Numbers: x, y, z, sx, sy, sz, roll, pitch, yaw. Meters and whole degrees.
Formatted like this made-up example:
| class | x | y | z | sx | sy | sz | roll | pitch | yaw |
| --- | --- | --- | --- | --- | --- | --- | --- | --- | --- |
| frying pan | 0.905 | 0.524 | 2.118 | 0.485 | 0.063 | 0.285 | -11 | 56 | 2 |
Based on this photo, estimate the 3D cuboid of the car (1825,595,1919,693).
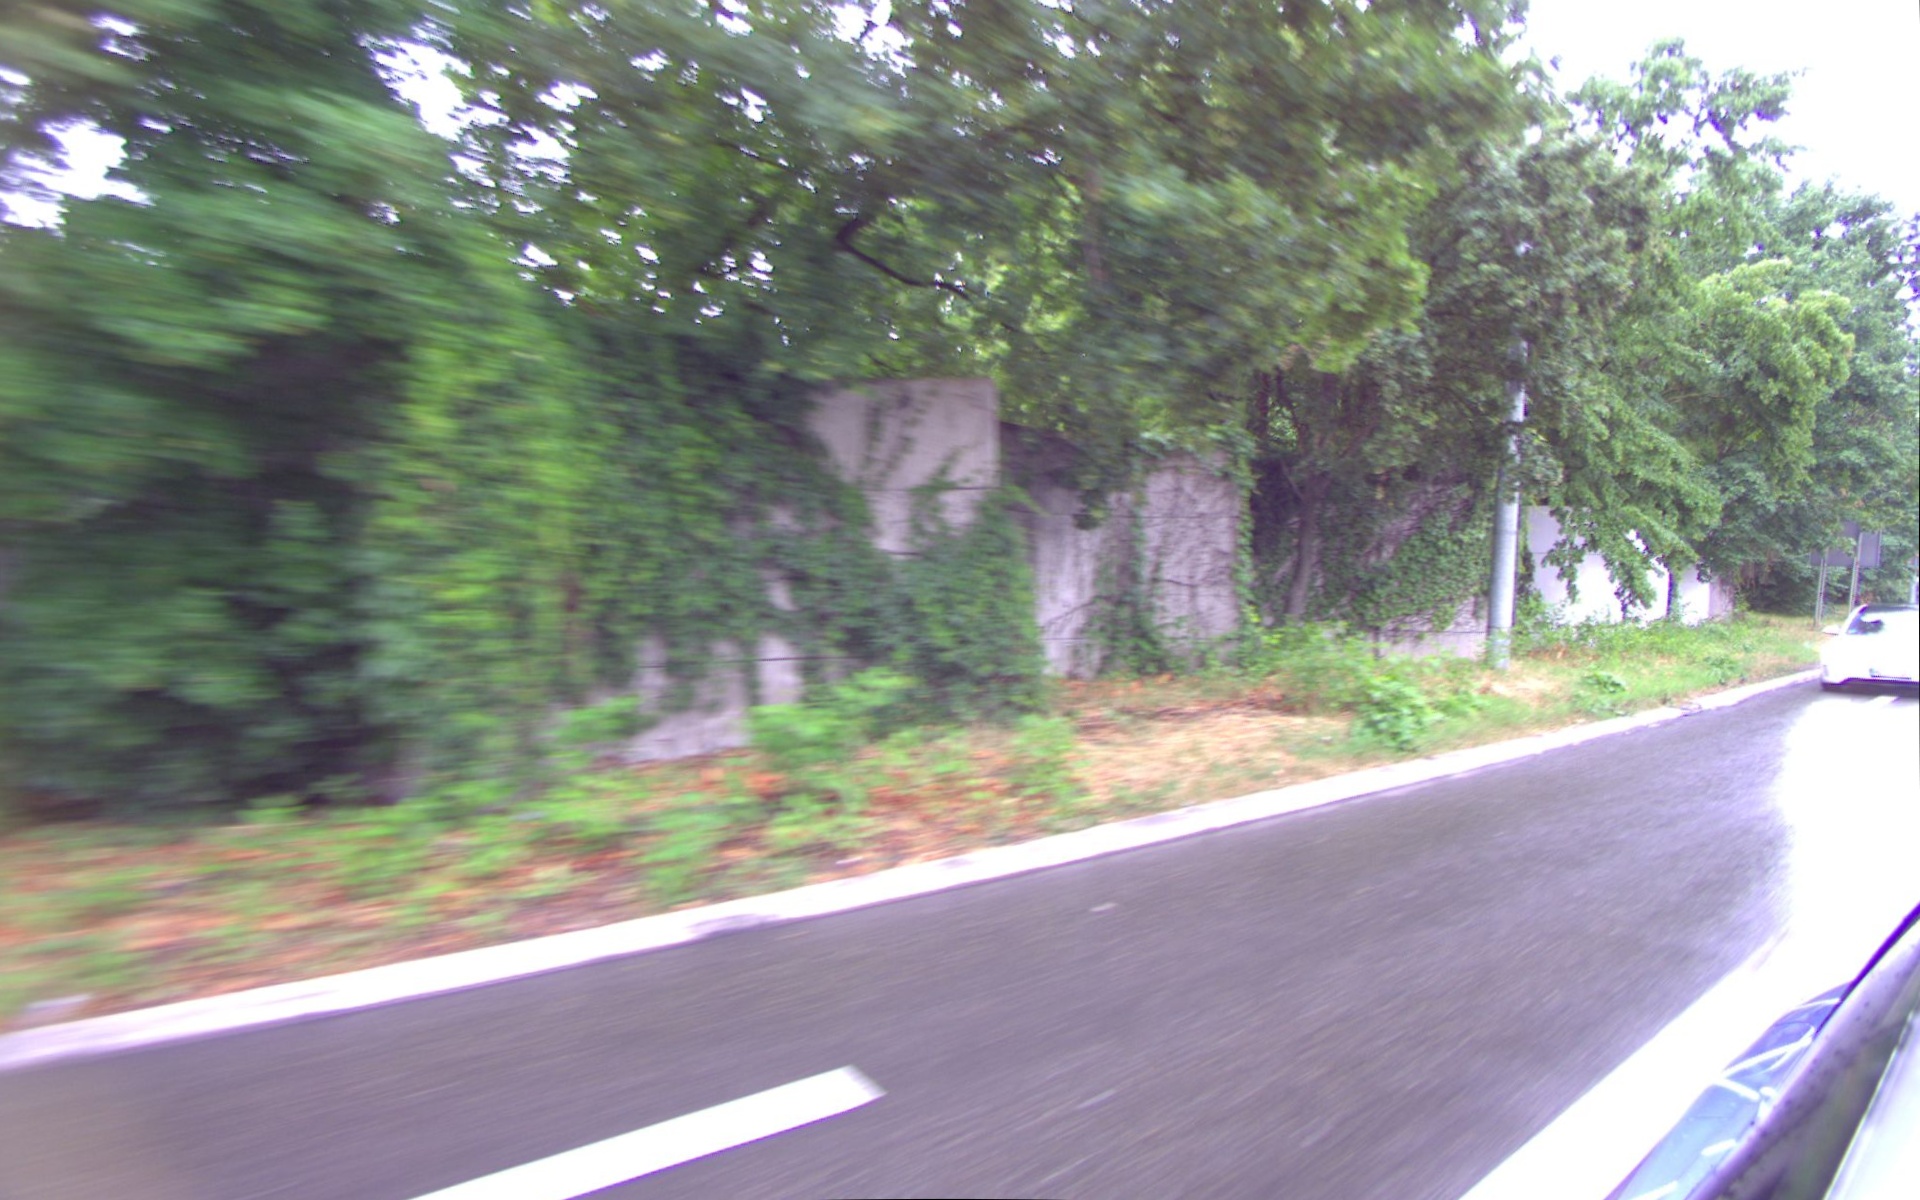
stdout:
| class | x | y | z | sx | sy | sz | roll | pitch | yaw |
| --- | --- | --- | --- | --- | --- | --- | --- | --- | --- |
| car | 15.847 | 0.650 | 16.651 | 4.198 | 1.450 | 1.838 | -1 | 1 | -41 |
